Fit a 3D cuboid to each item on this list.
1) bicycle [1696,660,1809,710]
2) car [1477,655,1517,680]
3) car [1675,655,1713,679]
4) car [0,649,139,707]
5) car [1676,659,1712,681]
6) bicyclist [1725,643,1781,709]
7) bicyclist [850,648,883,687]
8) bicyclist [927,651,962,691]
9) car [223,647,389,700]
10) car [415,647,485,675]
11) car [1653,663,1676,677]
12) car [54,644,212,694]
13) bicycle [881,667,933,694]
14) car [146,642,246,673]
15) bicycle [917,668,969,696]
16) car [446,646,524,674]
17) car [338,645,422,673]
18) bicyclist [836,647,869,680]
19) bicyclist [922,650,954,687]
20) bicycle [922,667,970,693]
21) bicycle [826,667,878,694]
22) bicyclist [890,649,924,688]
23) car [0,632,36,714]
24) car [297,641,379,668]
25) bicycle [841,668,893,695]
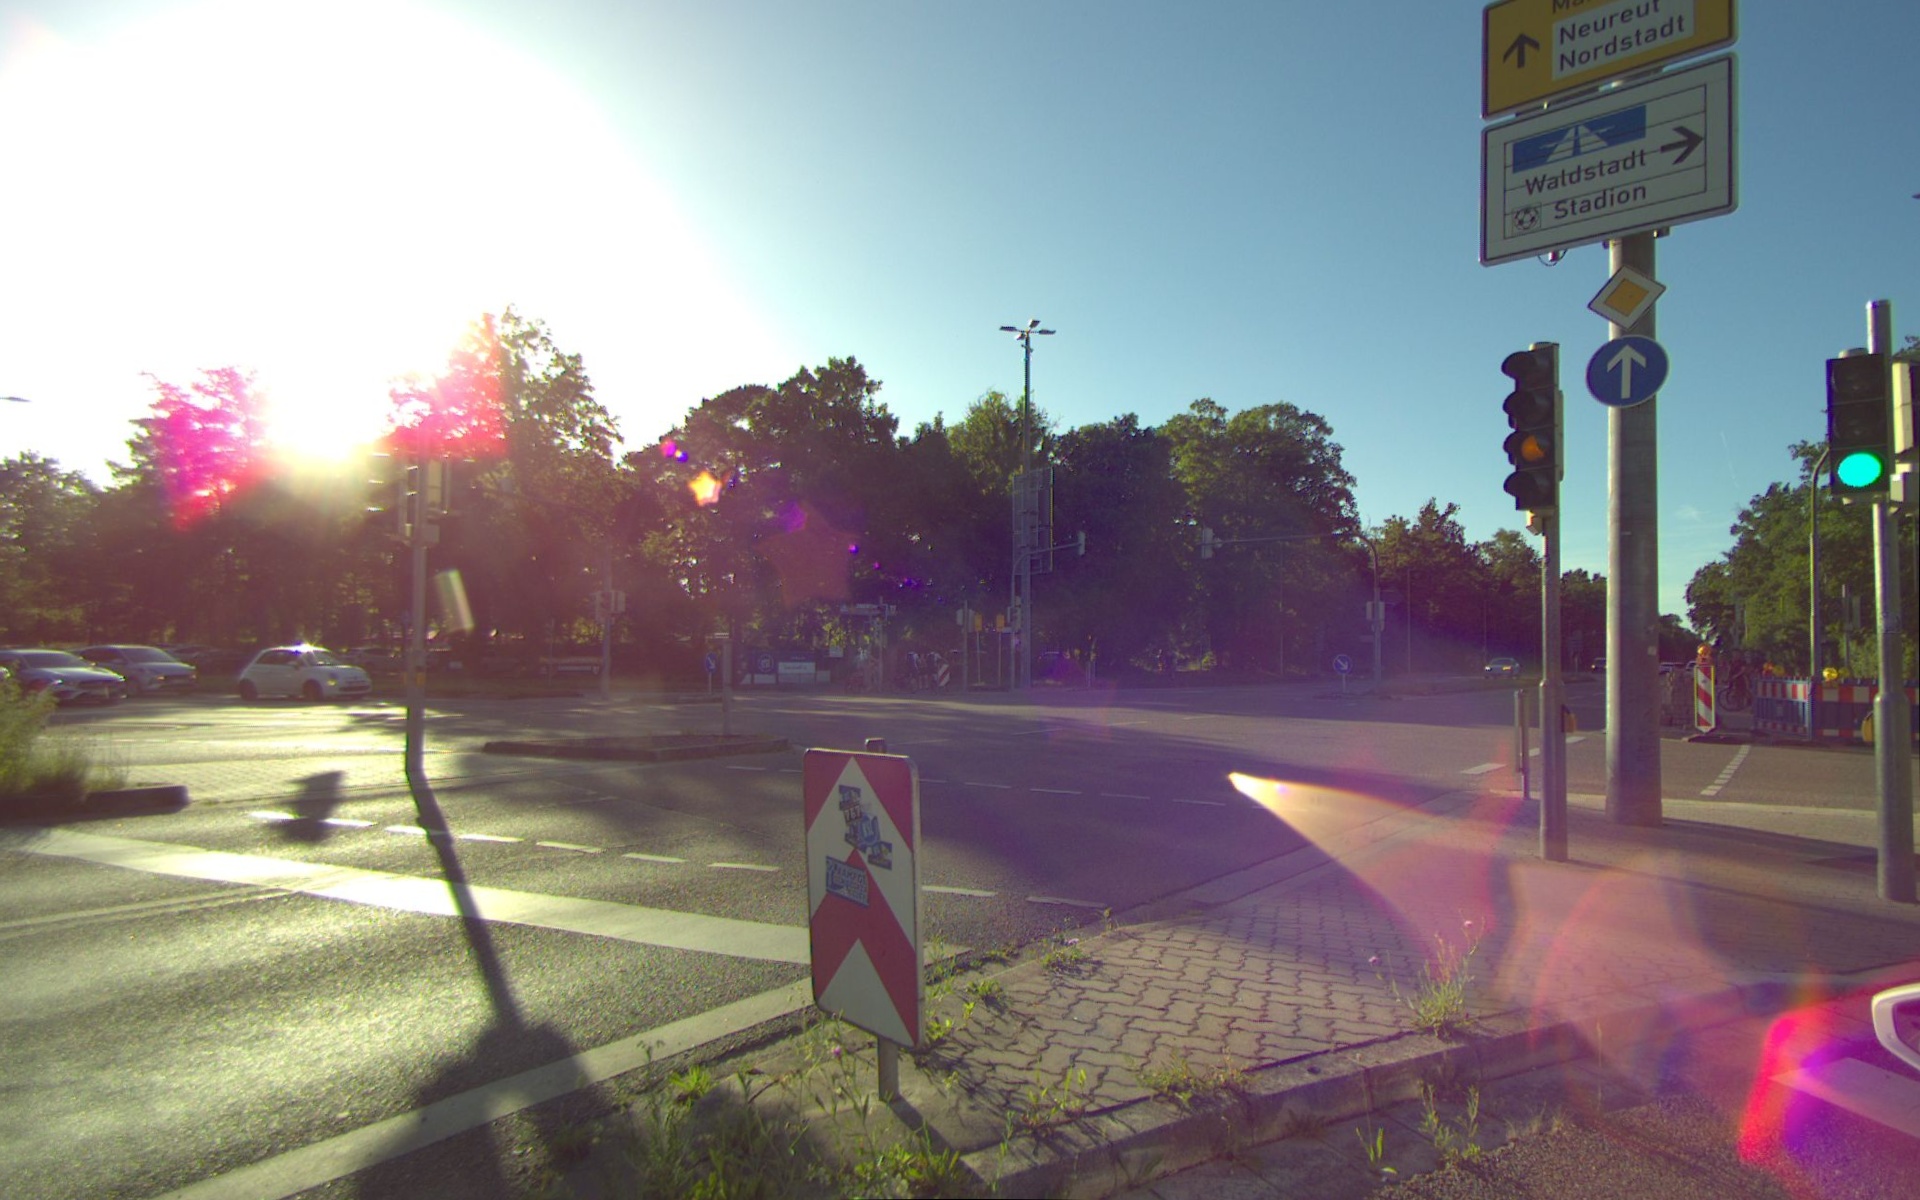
[{"bbox_3d":[24.381,2.613,30.944,2.586,1.401,0.969,1,-2,9],"label":"bicycle"},{"bbox_3d":[41.393,5.183,77.364,1.970,1.812,4.231,-1,-4,39],"label":"car"},{"bbox_3d":[49.203,4.471,67.306,1.968,1.556,3.986,-1,-4,37],"label":"car"},{"bbox_3d":[-23.837,2.004,26.380,3.723,1.407,1.649,0,-3,16],"label":"car"},{"bbox_3d":[49.574,4.688,67.845,1.915,1.433,3.986,-1,-4,37],"label":"car"},{"bbox_3d":[24.426,2.313,30.953,0.995,1.955,0.969,1,-2,9],"label":"bicyclist"},{"bbox_3d":[-3.408,2.460,36.643,0.703,1.408,0.984,-2,-4,44],"label":"bicyclist"},{"bbox_3d":[-0.537,2.470,35.212,0.707,1.356,0.984,-2,-4,44],"label":"bicyclist"},{"bbox_3d":[-18.499,2.051,28.477,3.723,1.407,1.930,0,-3,16],"label":"car"},{"bbox_3d":[-30.955,3.668,61.041,1.778,1.620,3.503,0,-3,18],"label":"car"},{"bbox_3d":[80.018,7.951,114.058,1.842,1.463,3.981,0,-3,40],"label":"car"},{"bbox_3d":[-25.003,2.071,30.408,3.723,1.407,1.855,0,-3,16],"label":"car"},{"bbox_3d":[-1.922,2.920,36.451,0.707,0.926,1.899,-2,-4,44],"label":"bicycle"},{"bbox_3d":[-42.775,3.215,56.309,1.906,1.640,3.998,0,-3,24],"label":"car"},{"bbox_3d":[-0.584,2.851,35.156,0.707,0.926,1.899,-2,-4,44],"label":"bicycle"},{"bbox_3d":[-28.449,3.580,60.325,1.778,1.620,4.198,0,-3,18],"label":"car"},{"bbox_3d":[-35.799,3.648,62.120,1.781,1.620,4.146,-1,-3,28],"label":"car"},{"bbox_3d":[-4.001,2.368,37.329,0.707,1.208,0.984,-2,-4,44],"label":"bicyclist"},{"bbox_3d":[-0.828,2.545,37.674,0.707,1.359,0.984,-2,-4,44],"label":"bicyclist"},{"bbox_3d":[-0.518,3.012,37.985,0.707,0.926,1.899,-2,-4,44],"label":"bicycle"},{"bbox_3d":[-4.007,2.967,37.302,0.707,0.926,1.899,-2,-3,44],"label":"bicycle"},{"bbox_3d":[-1.918,2.480,36.466,0.707,1.373,0.984,-2,-4,44],"label":"bicyclist"},{"bbox_3d":[-24.272,1.651,23.246,4.834,1.853,1.930,0,-3,16],"label":"car"},{"bbox_3d":[-38.799,3.400,62.706,1.781,1.620,3.967,-1,-3,28],"label":"car"},{"bbox_3d":[-3.387,2.950,36.644,0.707,0.926,1.899,-2,-4,44],"label":"bicycle"}]
